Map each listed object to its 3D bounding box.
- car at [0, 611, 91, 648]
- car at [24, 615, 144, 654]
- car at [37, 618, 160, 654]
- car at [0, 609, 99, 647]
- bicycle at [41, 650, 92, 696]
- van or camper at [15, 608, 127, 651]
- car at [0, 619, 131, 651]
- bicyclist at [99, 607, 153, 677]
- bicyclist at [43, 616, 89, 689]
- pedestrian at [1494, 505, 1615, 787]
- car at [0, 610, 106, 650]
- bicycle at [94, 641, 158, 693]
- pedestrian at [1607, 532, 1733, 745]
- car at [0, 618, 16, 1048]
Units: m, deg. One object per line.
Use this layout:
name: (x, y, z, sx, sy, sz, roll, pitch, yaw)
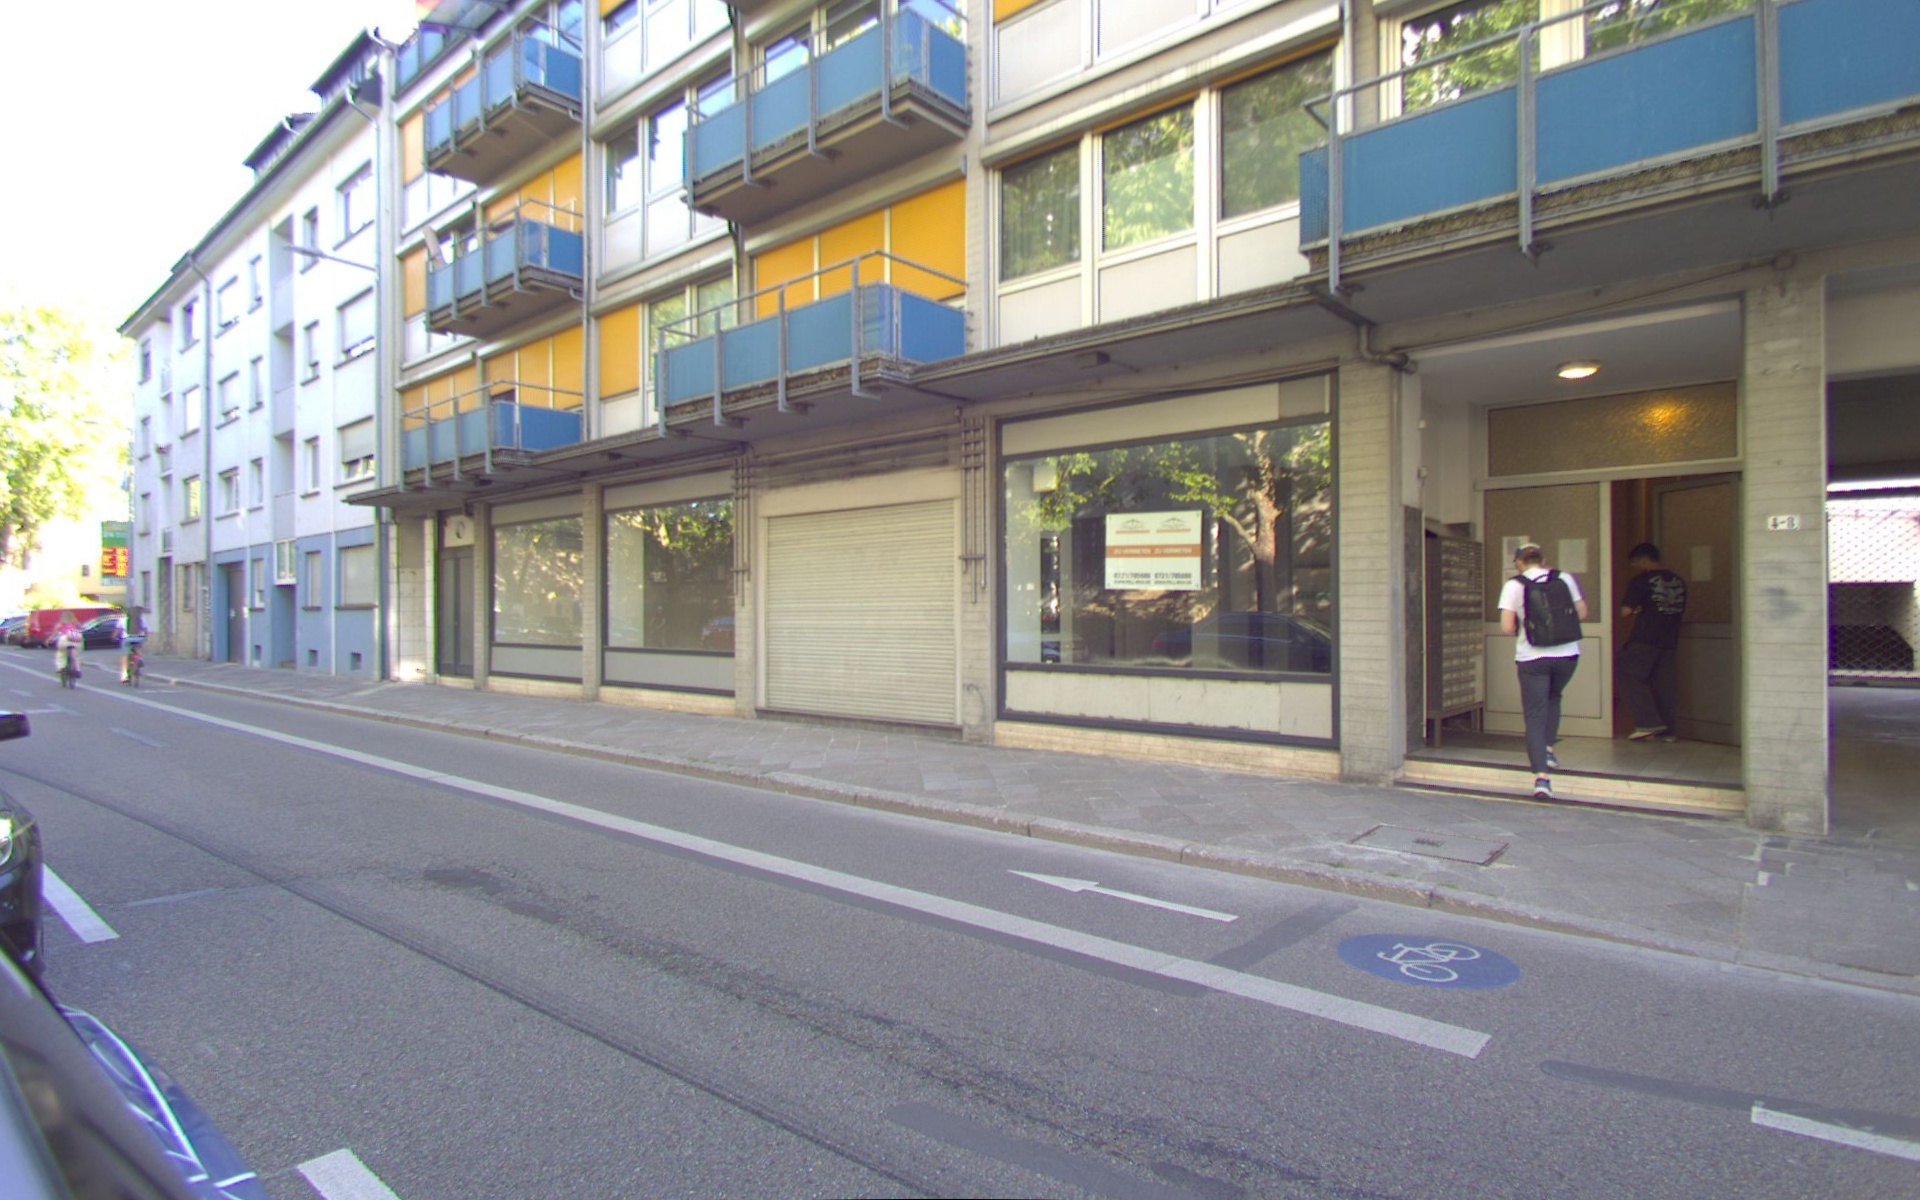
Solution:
car: (-57.391, 1.816, 62.861, 1.999, 2.210, 4.927, -1, -1, 41)
car: (-41.629, 1.615, 48.167, 1.999, 1.703, 4.093, -1, -1, 41)
car: (-39.749, 1.626, 46.782, 1.999, 1.506, 4.093, -1, -1, 41)
car: (-55.398, 1.666, 61.152, 1.999, 2.210, 4.927, -1, -1, 41)
bicycle: (-20.047, 1.619, 22.695, 1.863, 0.936, 0.686, -1, -1, 43)
van or camper: (-43.885, 1.425, 50.009, 1.999, 2.029, 3.946, -1, -1, 40)
car: (-45.718, 1.745, 51.702, 1.999, 1.506, 4.927, -1, -1, 41)
bicyclist: (-19.205, 0.948, 23.296, 0.839, 1.566, 0.833, -1, -1, 40)
bicyclist: (-20.022, 1.159, 22.669, 0.982, 1.590, 0.677, -1, -1, 42)
pedestrian: (4.151, 0.290, 7.046, 0.600, 1.813, 0.868, -1, 0, 37)
car: (-53.311, 1.731, 59.201, 1.999, 2.210, 4.927, -1, -1, 41)
bicycle: (-19.216, 1.518, 23.310, 1.835, 1.087, 0.854, -1, -1, 41)
pedestrian: (5.971, 0.319, 8.539, 0.654, 1.726, 0.547, -1, -1, 8)
car: (-5.281, 0.830, 4.088, 3.861, 1.467, 1.718, -1, -1, 40)
